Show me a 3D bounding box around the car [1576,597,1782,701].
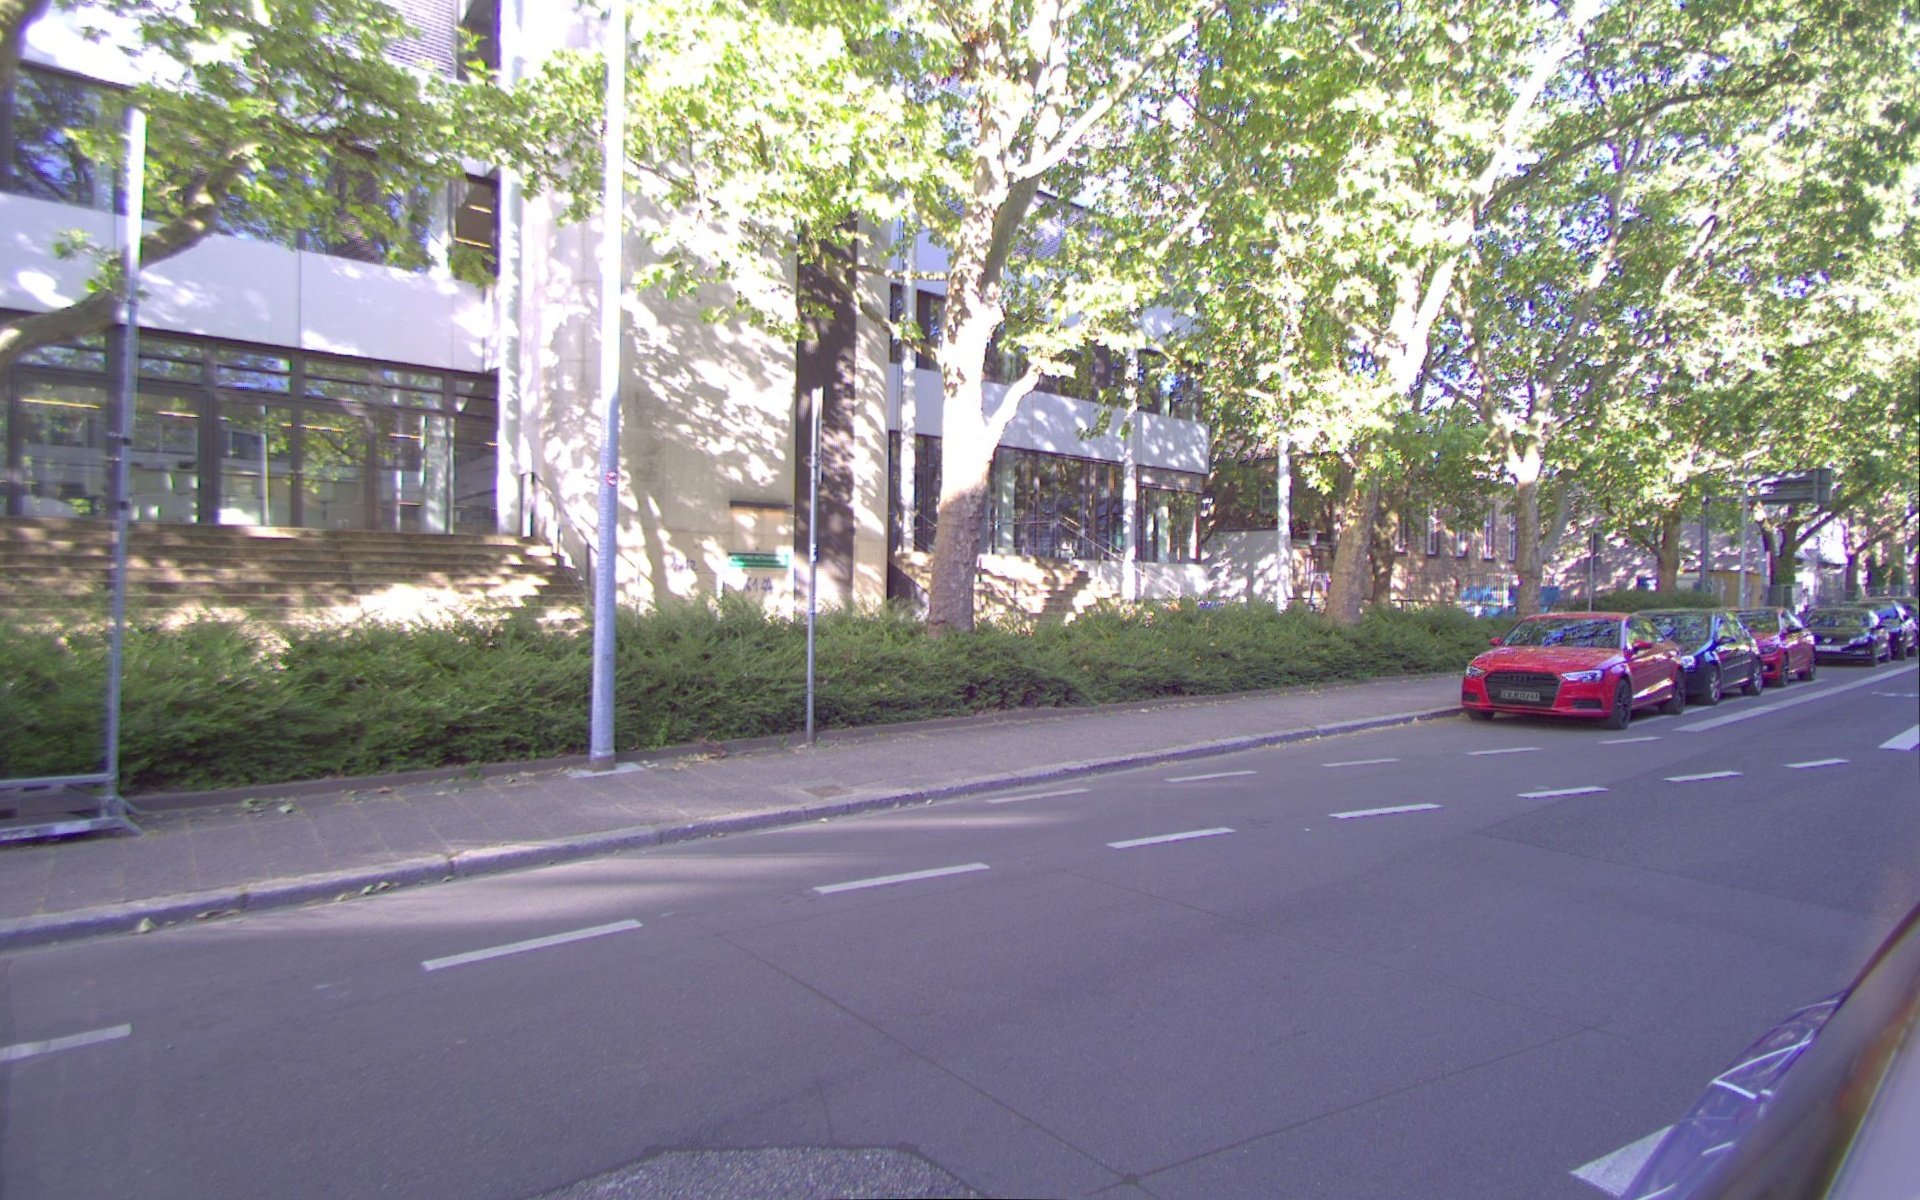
[{"bbox_3d":[11.811,0.702,16.549,3.929,1.475,1.812,0,1,-40],"label":"car"}]

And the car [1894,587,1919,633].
[{"bbox_3d":[35.741,0.360,37.086,4.004,1.638,1.797,0,1,-41],"label":"car"}]

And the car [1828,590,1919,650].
[{"bbox_3d":[26.648,0.523,29.204,4.158,1.601,1.847,0,1,-41],"label":"car"}]

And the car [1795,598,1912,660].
[{"bbox_3d":[22.985,0.680,26.006,3.930,1.456,1.744,0,1,-41],"label":"car"}]

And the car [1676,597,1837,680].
[{"bbox_3d":[15.771,0.677,19.986,3.930,1.456,1.789,0,1,-41],"label":"car"}]

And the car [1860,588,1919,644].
[{"bbox_3d":[31.083,0.479,33.064,4.188,1.747,1.997,-1,0,-41],"label":"car"}]

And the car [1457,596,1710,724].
[{"bbox_3d":[8.400,0.680,13.496,4.101,1.443,1.773,0,-1,-42],"label":"car"}]
